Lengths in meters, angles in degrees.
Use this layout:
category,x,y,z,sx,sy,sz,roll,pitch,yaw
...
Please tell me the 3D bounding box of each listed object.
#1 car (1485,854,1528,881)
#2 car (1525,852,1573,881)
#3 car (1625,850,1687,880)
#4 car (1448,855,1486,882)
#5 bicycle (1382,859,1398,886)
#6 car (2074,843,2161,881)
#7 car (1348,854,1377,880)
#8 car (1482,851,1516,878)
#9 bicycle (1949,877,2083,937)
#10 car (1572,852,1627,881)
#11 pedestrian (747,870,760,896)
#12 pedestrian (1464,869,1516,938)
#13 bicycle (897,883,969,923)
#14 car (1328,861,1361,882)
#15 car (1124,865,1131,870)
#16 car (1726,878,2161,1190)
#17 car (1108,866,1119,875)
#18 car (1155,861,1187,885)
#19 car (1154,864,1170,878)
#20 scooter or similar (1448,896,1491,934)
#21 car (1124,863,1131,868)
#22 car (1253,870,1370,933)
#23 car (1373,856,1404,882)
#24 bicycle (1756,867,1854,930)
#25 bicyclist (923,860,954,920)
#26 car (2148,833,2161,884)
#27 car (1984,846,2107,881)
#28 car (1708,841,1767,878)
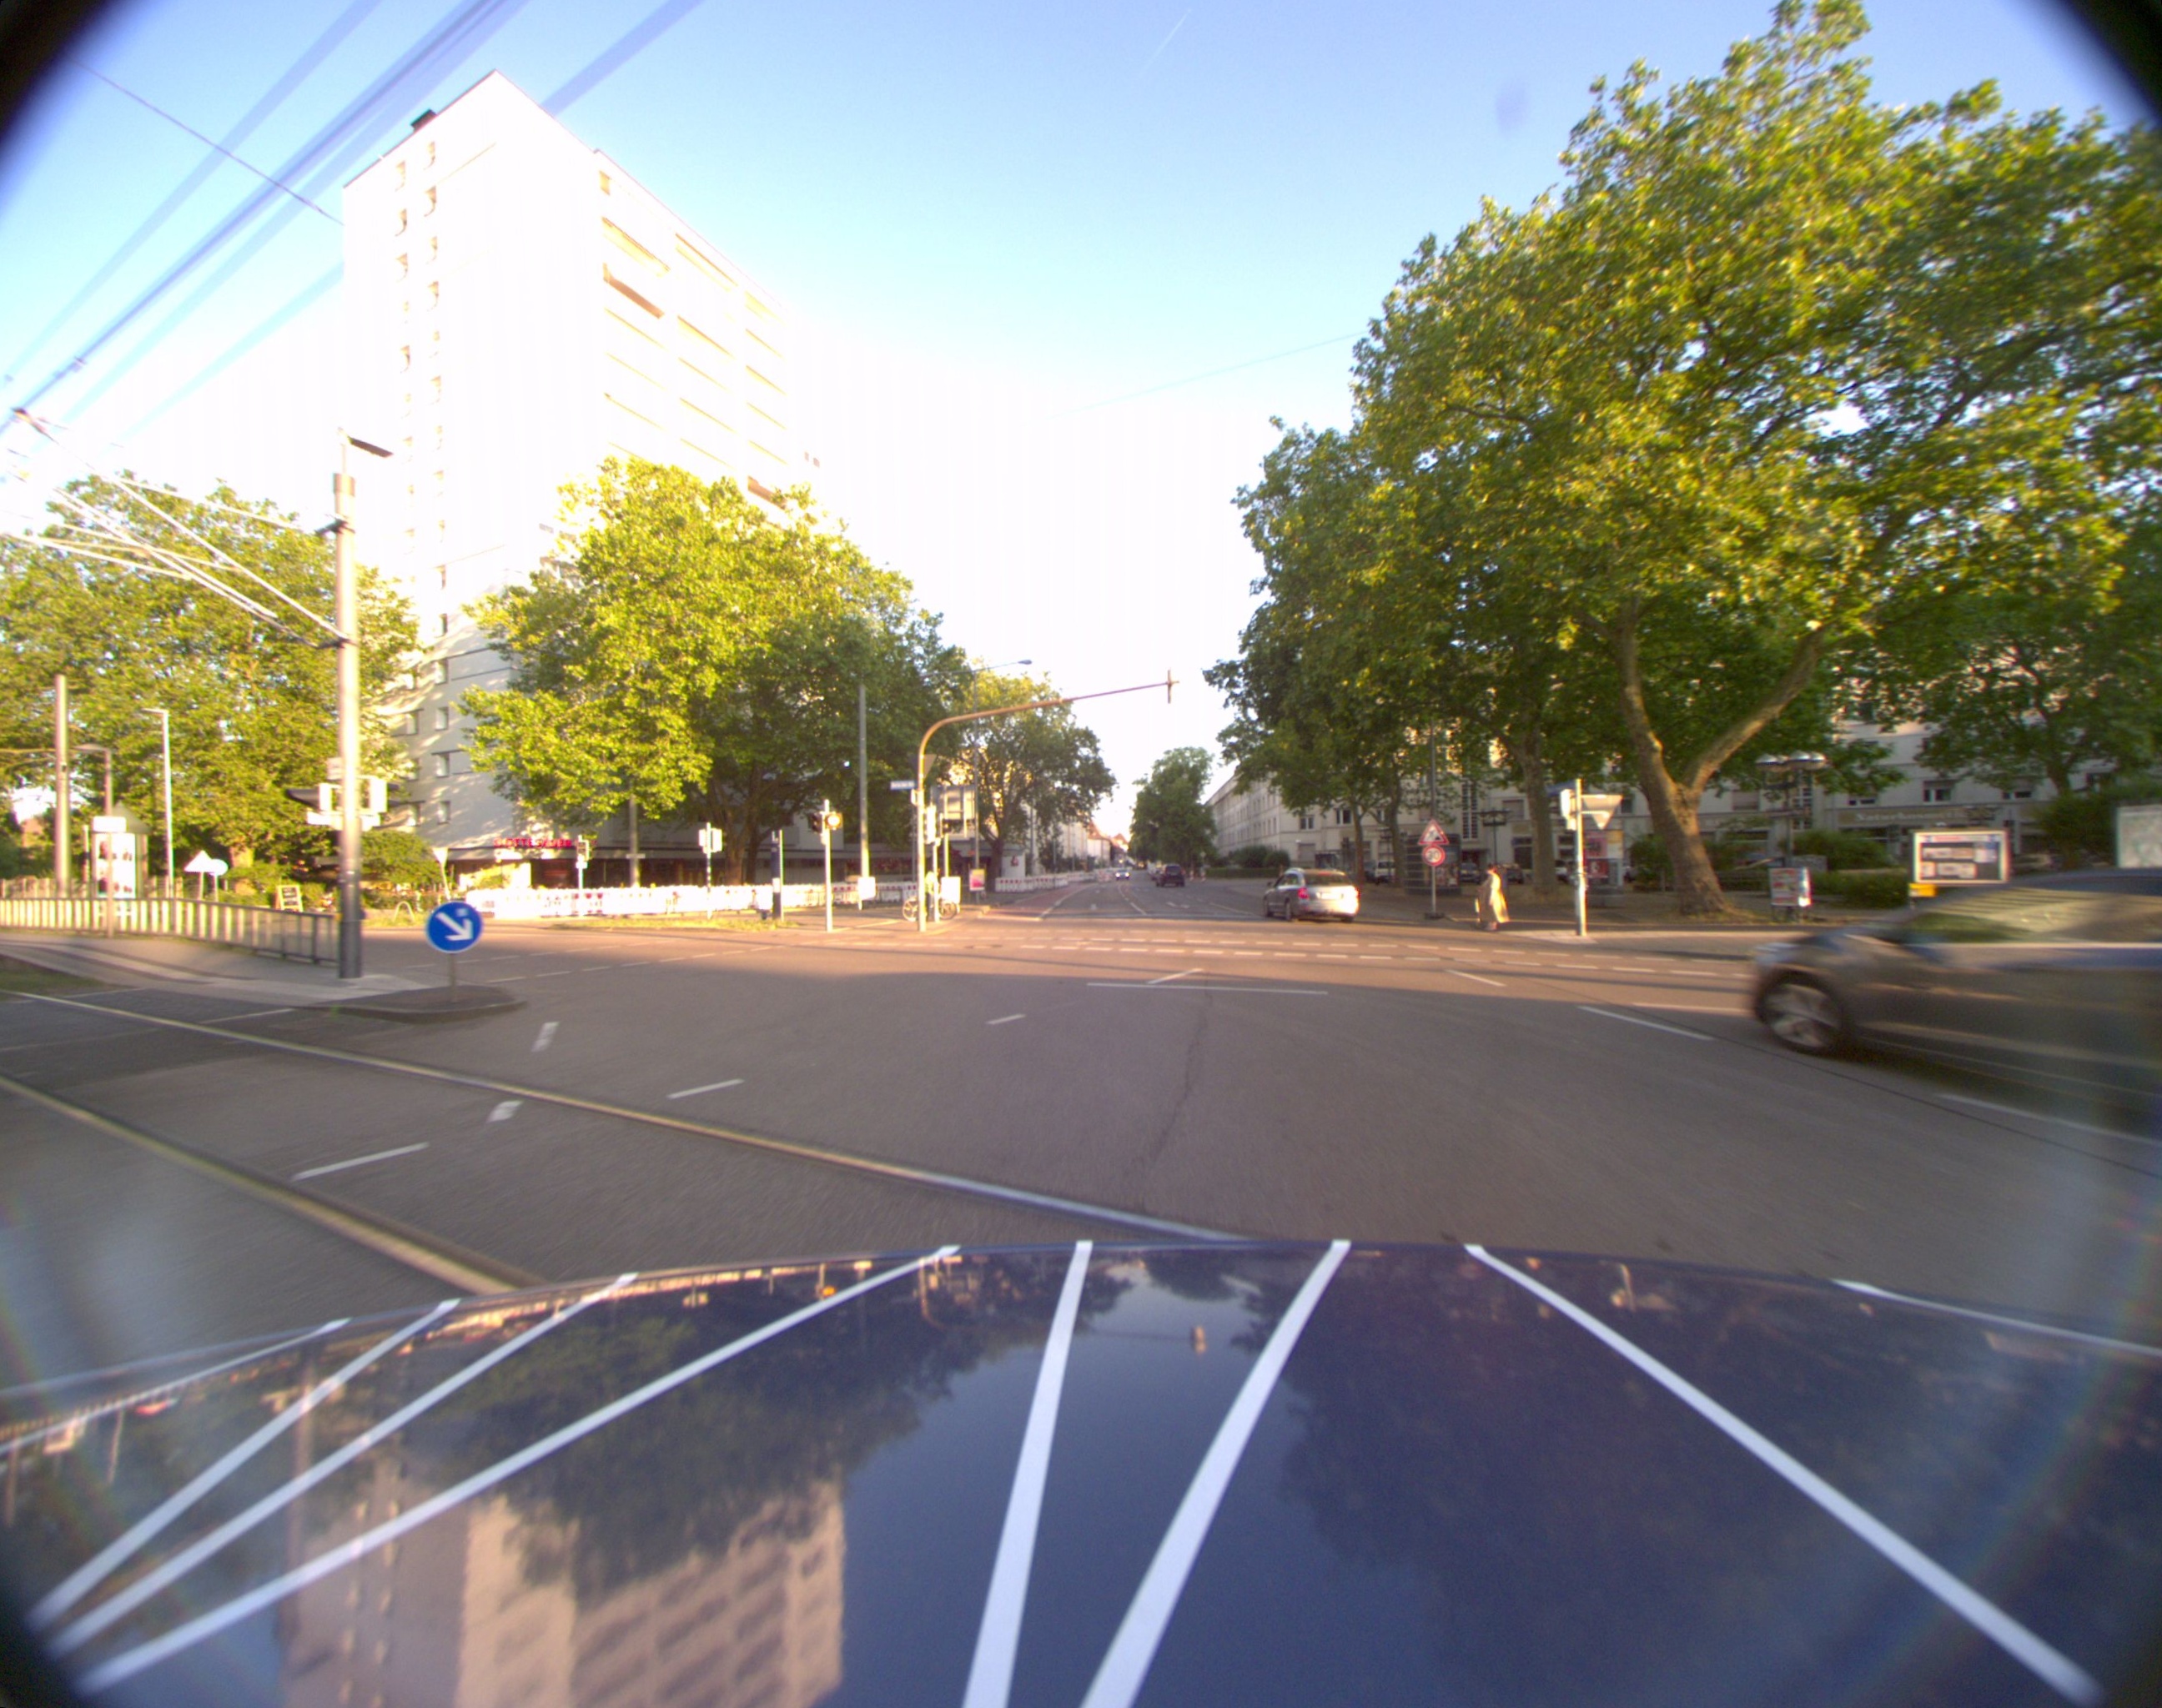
category,x,y,z,sx,sy,sz,roll,pitch,yaw
car,28.432,0.931,50.913,1.995,1.770,4.649,0,-2,22
car,30.574,0.861,49.763,1.995,1.770,4.649,0,-2,22
car,35.933,0.708,47.603,1.995,1.770,4.649,0,-2,22
car,26.264,0.990,51.836,1.995,1.770,4.649,0,-2,22
bicycle,20.061,1.167,49.268,0.690,1.605,2.749,-2,0,27
car,49.034,0.344,34.905,3.752,1.652,1.677,-2,0,28
car,23.815,1.068,64.155,1.995,1.945,4.647,0,2,25
car,33.018,0.773,60.132,1.995,1.945,4.647,0,2,25
bicycle,18.834,1.037,15.372,0.459,1.086,1.799,-2,0,0
car,33.106,0.806,48.667,1.995,1.770,4.649,0,-2,22
pedestrian,-21.005,1.853,48.718,0.642,1.579,0.745,-2,1,-27
pedestrian,9.993,1.192,18.592,0.804,1.618,0.773,-2,1,-3
bicycle,-4.628,1.503,23.780,2.075,1.103,0.627,-2,0,-30
car,19.160,1.271,55.356,1.996,1.494,4.648,0,-2,16
car,14.410,4.183,237.329,1.892,1.591,4.261,-2,0,7
car,6.329,0.920,4.230,1.998,1.468,4.140,0,0,1
car,6.669,3.283,154.278,1.892,1.726,4.261,-2,0,7
car,7.275,1.548,62.002,1.998,1.773,4.798,-2,-1,1
car,10.160,2.116,94.770,1.892,1.591,4.002,-2,0,7
scooter or similar,9.924,1.544,19.421,0.593,0.892,0.851,-2,0,-4
car,15.129,3.706,246.548,1.892,1.591,4.261,-2,0,7
car,6.483,1.277,21.980,1.998,1.548,4.769,0,0,1
car,21.712,1.072,53.627,1.995,1.770,4.649,0,-2,22
bicycle,16.590,0.987,17.483,0.526,1.318,1.995,-2,0,7
bicyclist,-4.479,1.119,23.871,0.700,1.813,0.627,-2,1,-30
car,39.886,0.133,25.418,4.490,1.770,2.004,0,-1,22
car,51.038,0.531,40.354,1.995,1.724,4.649,0,-2,22
car,47.274,0.350,54.803,1.995,2.428,4.647,0,2,25
